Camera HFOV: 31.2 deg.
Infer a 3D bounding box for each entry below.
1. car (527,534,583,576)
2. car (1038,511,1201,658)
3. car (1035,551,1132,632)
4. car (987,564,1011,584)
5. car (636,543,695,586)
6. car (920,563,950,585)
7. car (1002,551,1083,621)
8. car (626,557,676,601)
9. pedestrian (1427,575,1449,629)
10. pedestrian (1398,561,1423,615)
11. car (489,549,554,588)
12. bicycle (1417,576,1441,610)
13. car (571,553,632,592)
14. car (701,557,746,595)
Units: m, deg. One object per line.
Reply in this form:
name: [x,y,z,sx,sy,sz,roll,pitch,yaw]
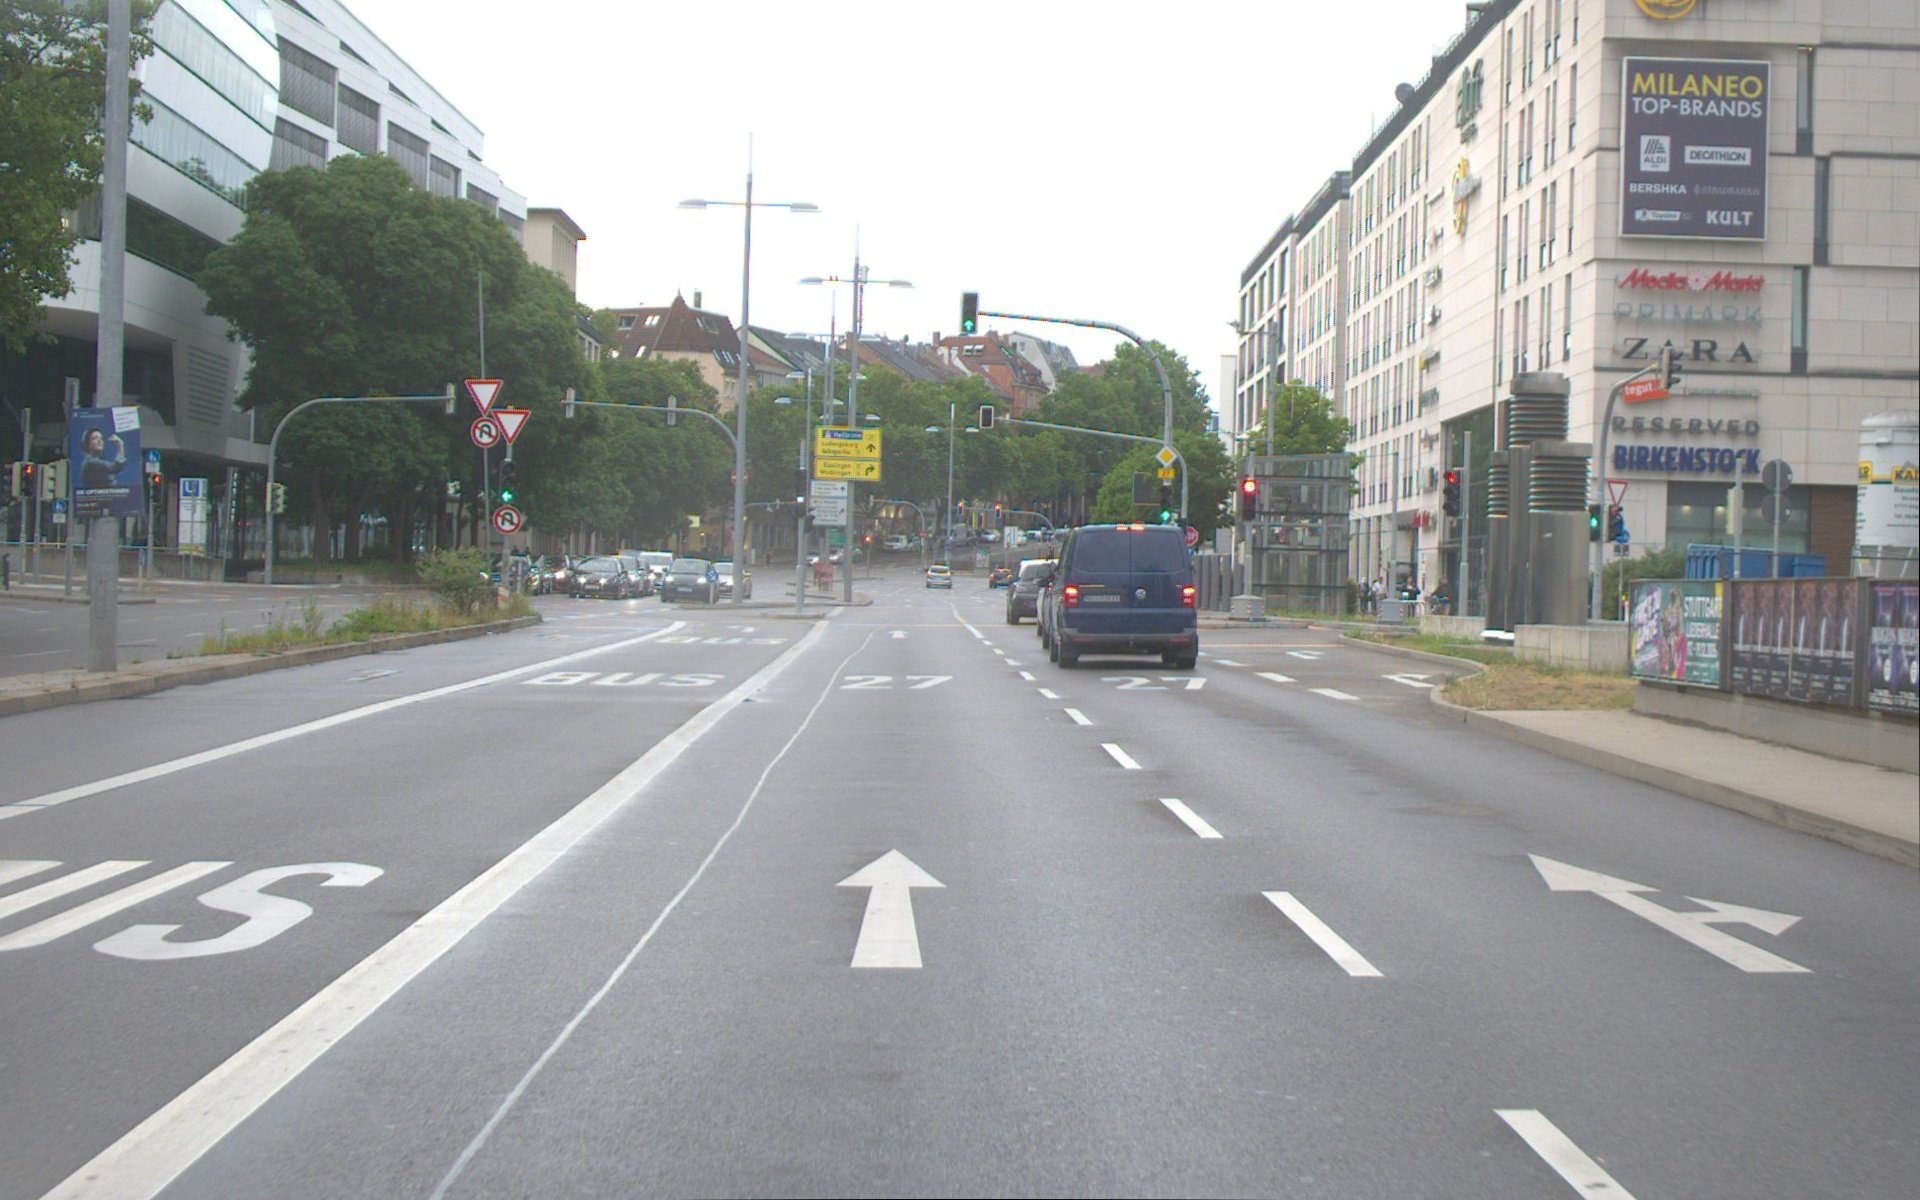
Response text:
car: [-15.639,-1.733,132.964,1.743,1.553,3.540,1,0,0]
car: [2.199,-0.275,48.641,2.033,1.875,5.042,-2,2,0]
car: [2.377,-0.165,67.019,1.724,1.526,3.814,1,0,0]
car: [2.945,-1.937,257.968,1.740,1.526,3.814,1,0,0]
car: [-10.190,-1.208,119.010,1.743,1.439,3.395,1,0,0]
car: [-1.776,-1.841,245.752,1.739,1.526,3.815,0,1,-6]
car: [1.855,-0.317,78.259,1.740,1.526,3.814,1,0,0]
car: [-12.661,-0.864,141.101,1.743,1.742,3.540,1,0,0]
pedestrian: [14.317,0.057,102.970,0.550,1.605,0.698,1,0,0]
pedestrian: [13.498,-0.355,103.035,0.612,1.605,0.819,1,0,0]
car: [-15.304,-1.100,120.068,1.743,1.324,4.226,1,0,0]
bicycle: [14.040,-0.210,103.042,0.449,1.012,1.742,1,0,-1]
car: [-12.513,-0.976,120.140,1.743,1.253,3.540,2,1,0]
car: [-9.507,-0.951,138.245,1.538,1.472,3.696,1,0,0]
